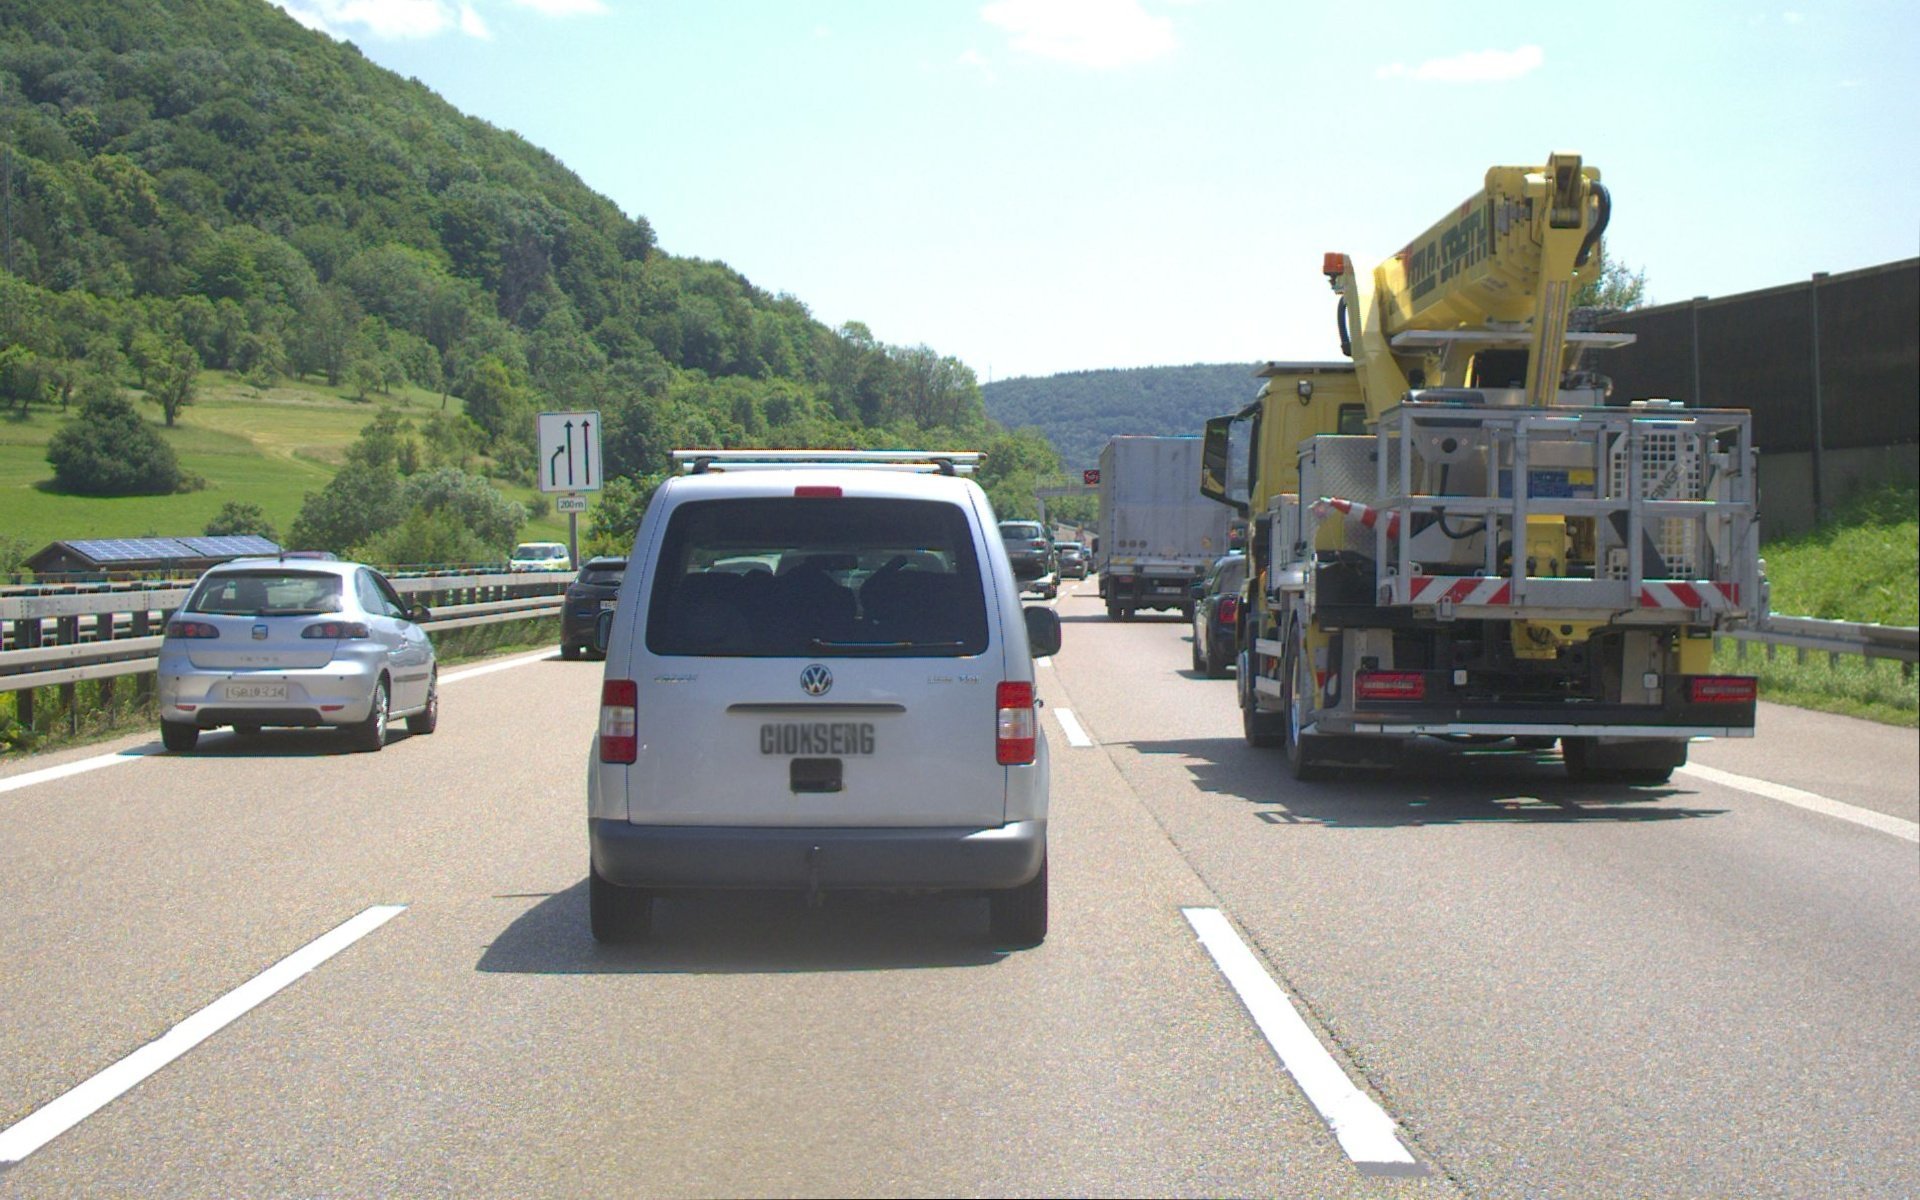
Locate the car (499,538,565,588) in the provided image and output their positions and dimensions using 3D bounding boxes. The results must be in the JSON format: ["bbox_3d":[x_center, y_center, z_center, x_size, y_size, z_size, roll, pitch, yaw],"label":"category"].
[{"bbox_3d":[-17.121,-1.497,137.599,2.060,1.935,4.661,0,1,0],"label":"car"}]

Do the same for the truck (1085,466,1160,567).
[{"bbox_3d":[5.420,-2.745,115.233,1.993,3.240,6.800,1,0,-1],"label":"truck"}]

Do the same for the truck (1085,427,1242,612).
[{"bbox_3d":[4.377,-1.710,75.520,2.940,3.810,8.237,1,0,0],"label":"truck"}]

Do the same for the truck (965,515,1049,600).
[{"bbox_3d":[1.417,-1.323,105.873,2.390,2.532,5.940,0,1,-1],"label":"truck"}]

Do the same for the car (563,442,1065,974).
[{"bbox_3d":[-0.553,0.347,14.086,1.756,1.861,4.000,0,1,-1],"label":"car"}]

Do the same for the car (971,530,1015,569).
[{"bbox_3d":[1.556,-2.387,163.234,1.993,1.799,4.000,1,0,0],"label":"car"}]

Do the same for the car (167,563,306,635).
[{"bbox_3d":[-15.179,-0.040,72.330,1.993,1.450,4.527,0,1,0],"label":"car"}]

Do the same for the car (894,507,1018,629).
[{"bbox_3d":[-0.101,-0.551,57.847,1.993,1.969,4.000,0,1,-1],"label":"car"}]

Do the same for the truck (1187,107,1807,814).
[{"bbox_3d":[3.283,-0.848,23.508,2.704,3.929,8.722,0,1,-1],"label":"truck"}]

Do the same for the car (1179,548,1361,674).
[{"bbox_3d":[3.706,0.100,41.607,1.786,1.453,3.771,0,1,-1],"label":"car"}]

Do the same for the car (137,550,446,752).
[{"bbox_3d":[-5.104,0.341,26.705,1.695,1.440,3.862,0,1,-1],"label":"car"}]

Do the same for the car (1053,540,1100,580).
[{"bbox_3d":[5.336,-1.840,157.960,1.993,1.799,4.000,1,0,0],"label":"car"}]

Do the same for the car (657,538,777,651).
[{"bbox_3d":[-4.491,-0.128,63.930,1.993,2.007,4.000,-1,1,-1],"label":"car"}]

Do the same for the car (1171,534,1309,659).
[{"bbox_3d":[4.658,-0.090,57.626,1.993,2.007,4.000,0,1,0],"label":"car"}]

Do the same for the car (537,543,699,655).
[{"bbox_3d":[-4.742,-0.042,48.132,1.925,1.494,4.000,1,1,-1],"label":"car"}]
